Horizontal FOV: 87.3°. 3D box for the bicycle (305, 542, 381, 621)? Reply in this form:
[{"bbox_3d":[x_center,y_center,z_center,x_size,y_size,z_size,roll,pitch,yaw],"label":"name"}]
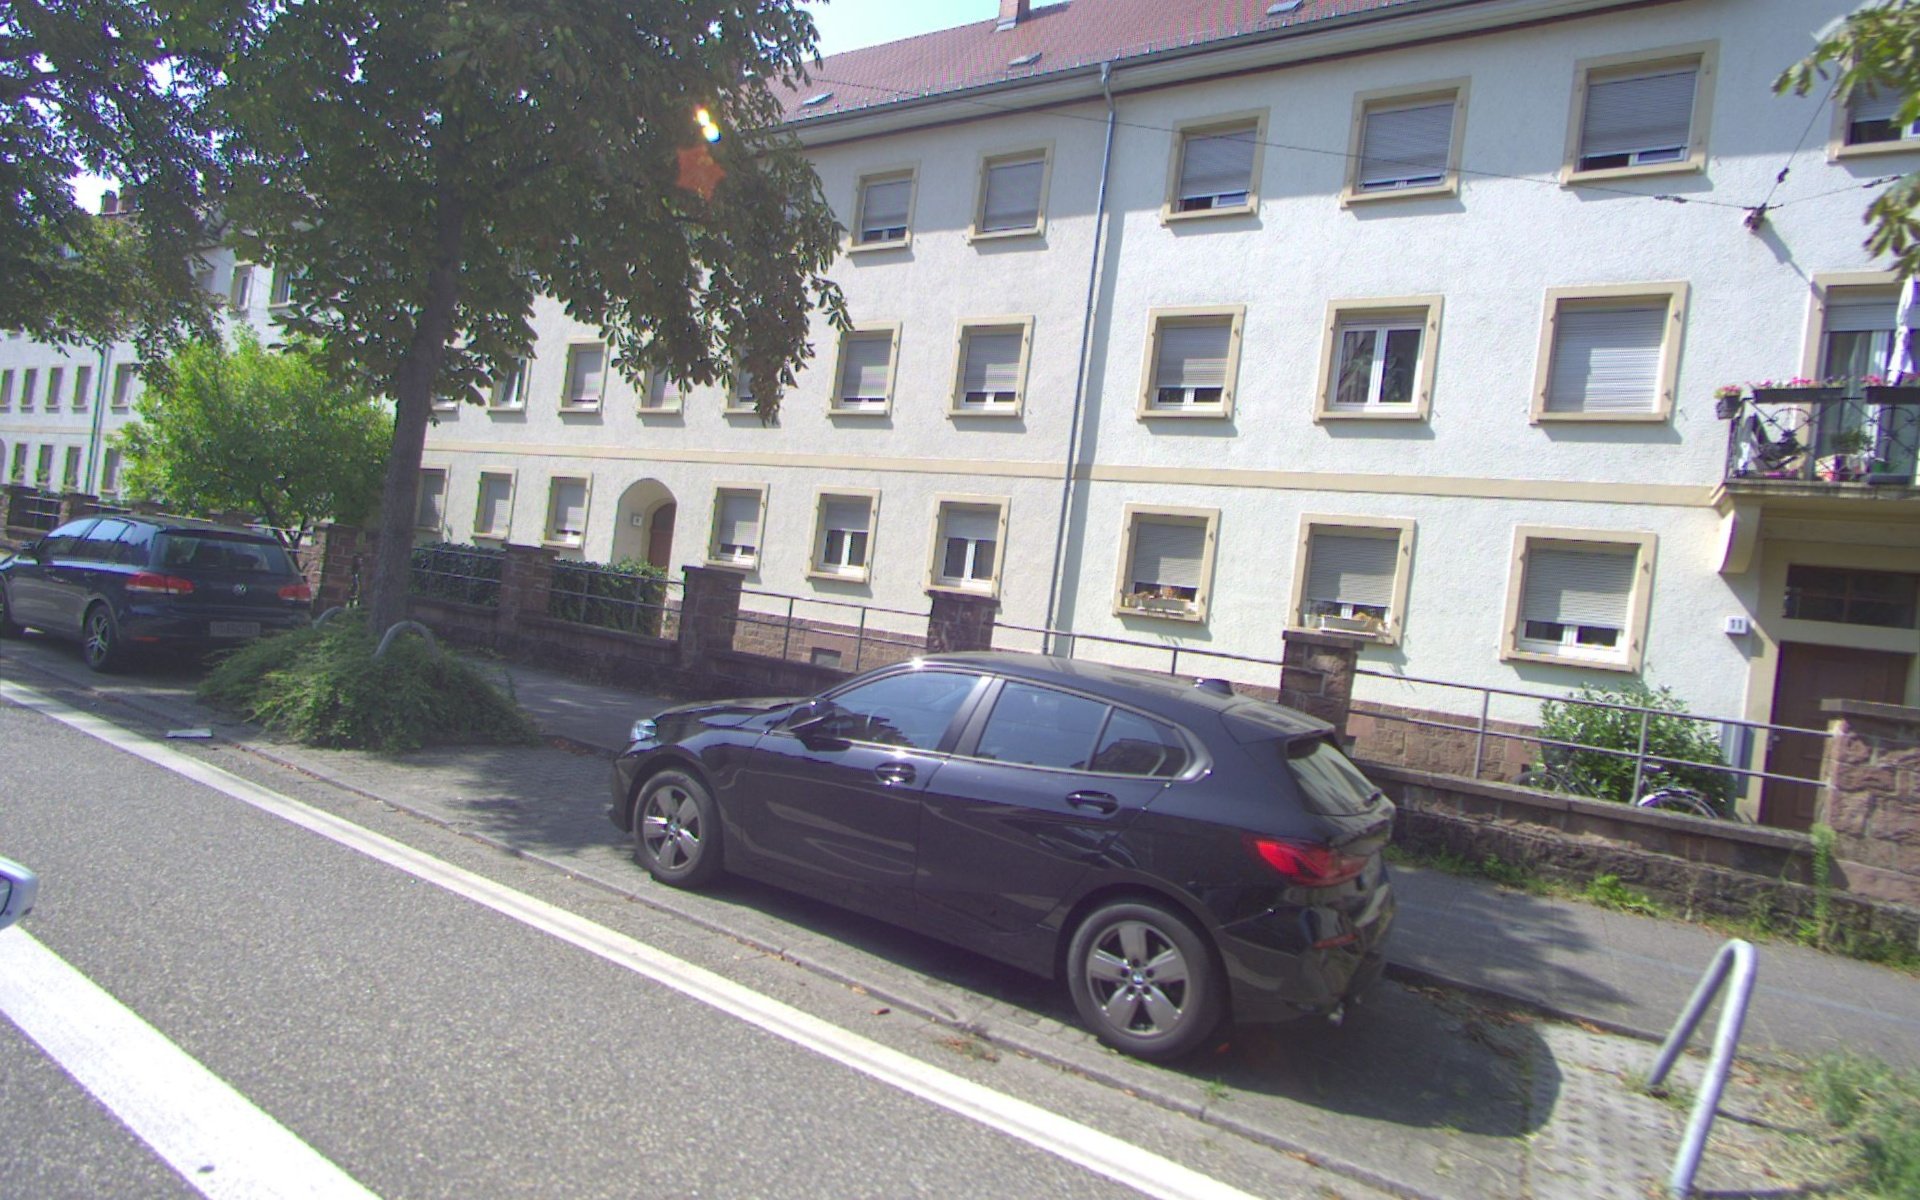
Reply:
[{"bbox_3d":[-11.313,-0.344,18.427,1.554,1.273,0.402,7,0,32],"label":"bicycle"}]

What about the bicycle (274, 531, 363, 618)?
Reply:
[{"bbox_3d":[-11.499,-0.466,18.014,1.860,1.349,0.456,7,0,32],"label":"bicycle"}]

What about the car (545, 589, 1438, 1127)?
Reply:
[{"bbox_3d":[-0.022,0.913,5.373,4.383,1.497,1.756,6,2,31],"label":"car"}]

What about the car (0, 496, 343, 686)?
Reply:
[{"bbox_3d":[-8.759,-0.153,10.758,4.312,1.495,1.759,7,-1,30],"label":"car"}]
